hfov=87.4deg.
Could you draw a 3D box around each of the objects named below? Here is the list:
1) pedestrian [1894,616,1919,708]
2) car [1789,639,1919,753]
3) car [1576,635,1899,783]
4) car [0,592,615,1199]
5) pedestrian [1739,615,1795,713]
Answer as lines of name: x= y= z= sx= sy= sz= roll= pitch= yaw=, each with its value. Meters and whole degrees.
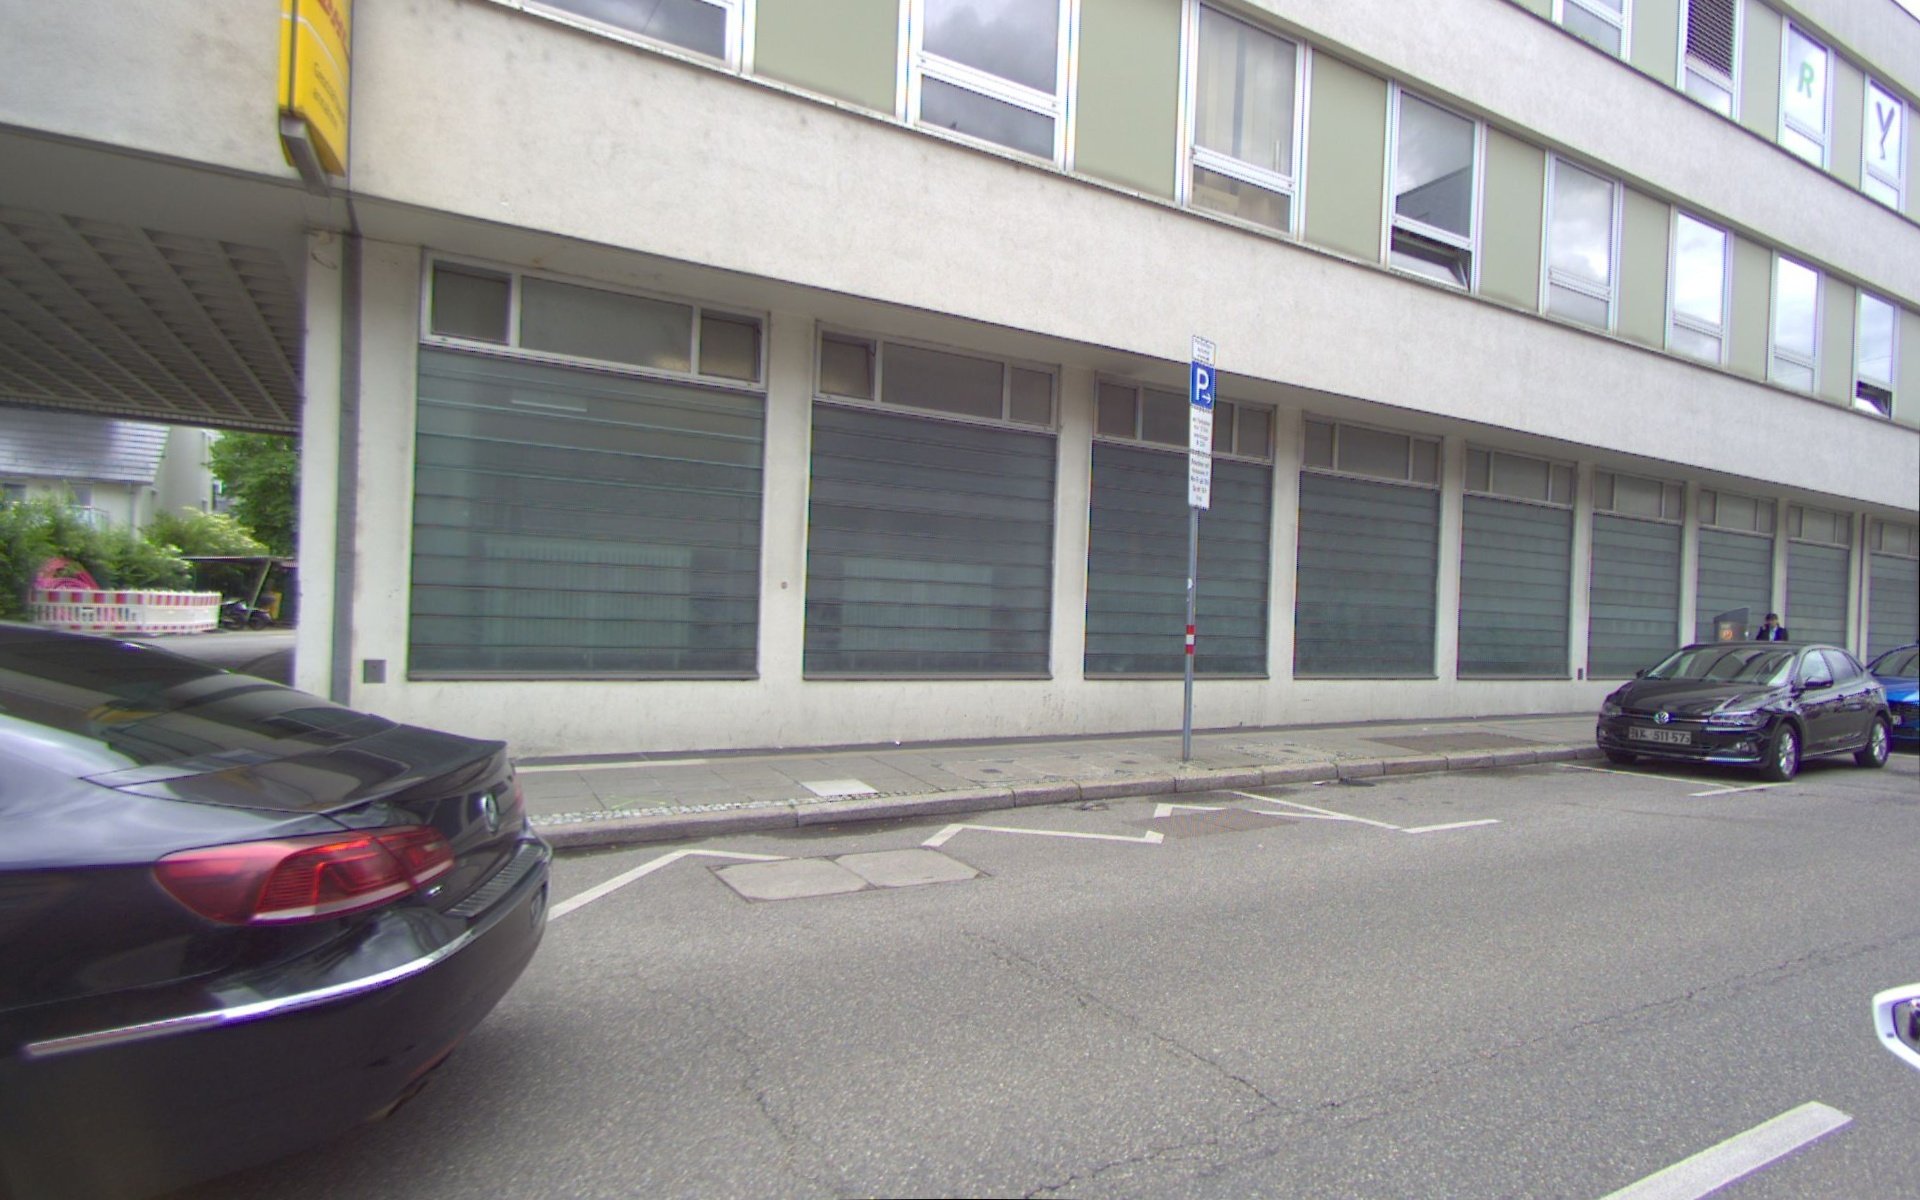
pedestrian: x=18.730 y=1.206 z=19.502 sx=1.043 sy=1.741 sz=0.586 roll=2 pitch=0 yaw=-31
car: x=14.020 y=1.316 z=14.345 sx=4.208 sy=1.444 sz=1.809 roll=2 pitch=-2 yaw=-26
car: x=9.050 y=1.158 z=11.640 sx=3.826 sy=1.444 sz=1.708 roll=2 pitch=-2 yaw=-31
car: x=-3.285 y=0.671 z=2.404 sx=4.373 sy=1.417 sz=1.654 roll=2 pitch=0 yaw=-9
pedestrian: x=14.817 y=1.159 z=18.452 sx=0.642 sy=1.741 sz=0.586 roll=2 pitch=0 yaw=-31
